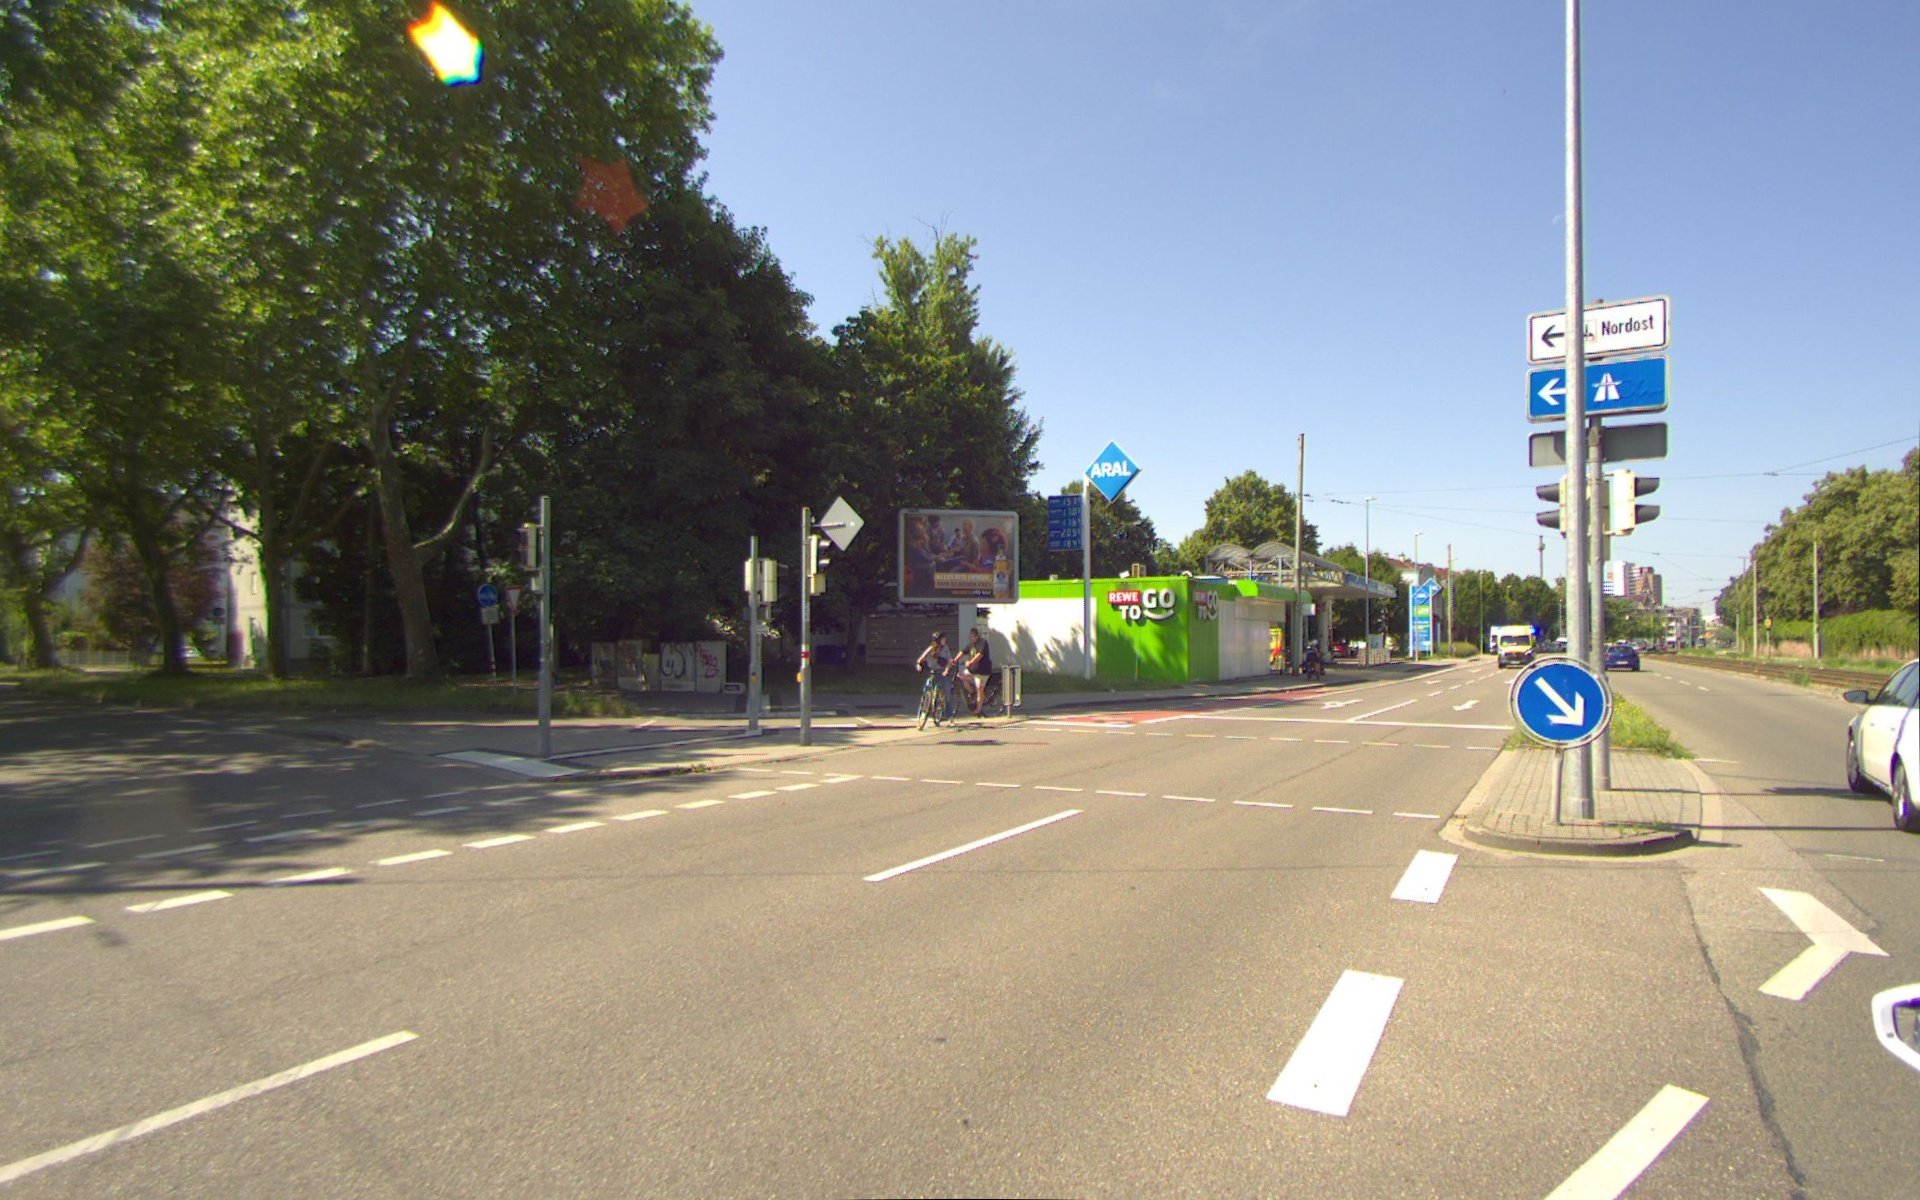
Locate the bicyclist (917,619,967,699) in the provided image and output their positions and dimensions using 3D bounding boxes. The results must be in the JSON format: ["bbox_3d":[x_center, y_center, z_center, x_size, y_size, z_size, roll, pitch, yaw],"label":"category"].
[{"bbox_3d":[-0.332,1.072,18.600,0.696,1.439,0.739,0,0,23],"label":"bicyclist"}]

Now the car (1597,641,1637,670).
[{"bbox_3d":[36.759,3.072,56.241,1.775,1.527,3.990,0,-1,32],"label":"car"}]

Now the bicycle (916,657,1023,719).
[{"bbox_3d":[0.217,1.787,20.852,2.194,1.190,0.929,2,-3,-42],"label":"bicycle"}]

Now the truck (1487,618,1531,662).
[{"bbox_3d":[35.943,2.632,65.659,2.297,2.703,7.345,-2,-3,30],"label":"truck"}]

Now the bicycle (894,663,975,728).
[{"bbox_3d":[-0.434,1.712,18.432,0.738,1.072,2.075,-1,-2,22],"label":"bicycle"}]

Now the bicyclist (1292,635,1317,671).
[{"bbox_3d":[14.638,2.247,42.673,0.834,1.455,0.831,0,-1,30],"label":"bicyclist"}]

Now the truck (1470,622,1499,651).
[{"bbox_3d":[66.087,4.613,126.431,2.629,3.576,8.572,1,-2,31],"label":"truck"}]

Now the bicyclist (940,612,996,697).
[{"bbox_3d":[0.173,1.106,20.756,0.826,1.696,0.822,0,0,43],"label":"bicyclist"}]

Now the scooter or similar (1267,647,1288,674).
[{"bbox_3d":[14.756,2.806,46.735,0.436,1.253,1.339,-2,-3,40],"label":"scooter or similar"}]

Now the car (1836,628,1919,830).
[{"bbox_3d":[8.939,1.033,8.703,1.670,1.470,4.443,0,-3,37],"label":"car"}]

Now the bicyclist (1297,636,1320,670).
[{"bbox_3d":[15.045,2.276,43.393,0.834,1.454,0.831,-1,-2,28],"label":"bicyclist"}]

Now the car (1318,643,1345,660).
[{"bbox_3d":[37.892,5.191,102.287,1.774,1.590,4.508,-2,-2,31],"label":"car"}]

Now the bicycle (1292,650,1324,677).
[{"bbox_3d":[15.043,2.716,43.347,0.813,1.109,2.767,-1,-3,30],"label":"bicycle"}]
